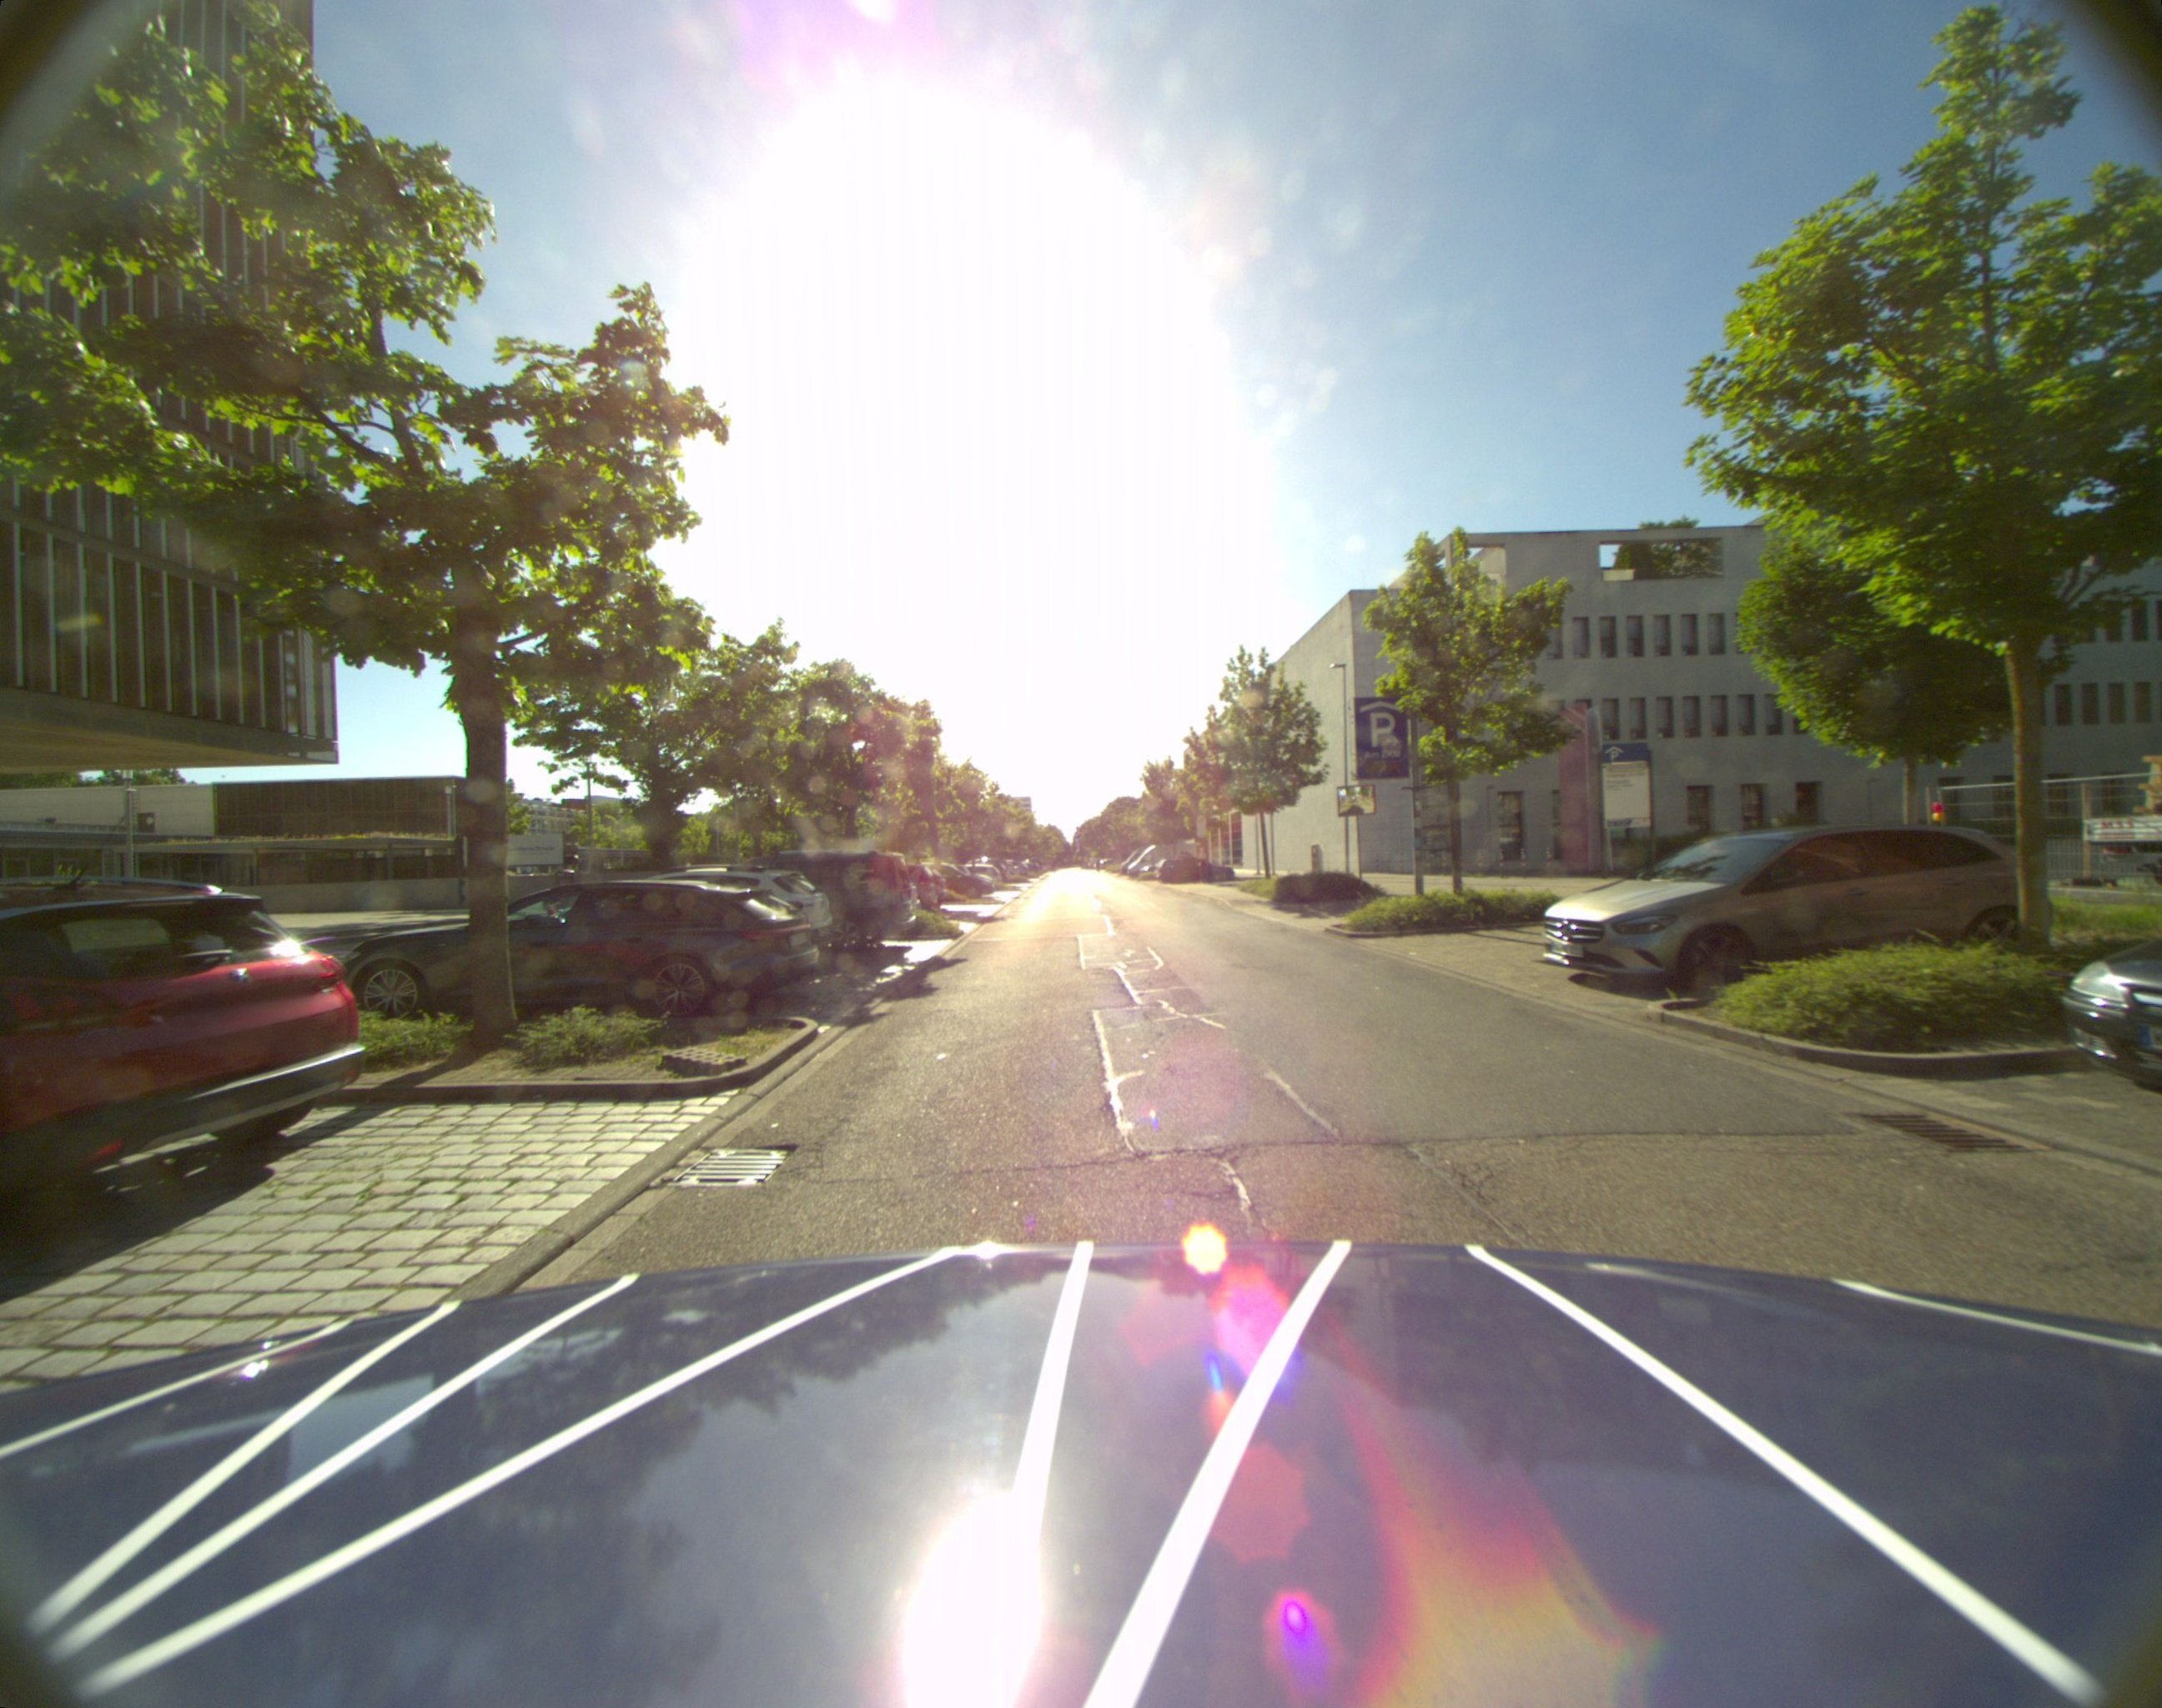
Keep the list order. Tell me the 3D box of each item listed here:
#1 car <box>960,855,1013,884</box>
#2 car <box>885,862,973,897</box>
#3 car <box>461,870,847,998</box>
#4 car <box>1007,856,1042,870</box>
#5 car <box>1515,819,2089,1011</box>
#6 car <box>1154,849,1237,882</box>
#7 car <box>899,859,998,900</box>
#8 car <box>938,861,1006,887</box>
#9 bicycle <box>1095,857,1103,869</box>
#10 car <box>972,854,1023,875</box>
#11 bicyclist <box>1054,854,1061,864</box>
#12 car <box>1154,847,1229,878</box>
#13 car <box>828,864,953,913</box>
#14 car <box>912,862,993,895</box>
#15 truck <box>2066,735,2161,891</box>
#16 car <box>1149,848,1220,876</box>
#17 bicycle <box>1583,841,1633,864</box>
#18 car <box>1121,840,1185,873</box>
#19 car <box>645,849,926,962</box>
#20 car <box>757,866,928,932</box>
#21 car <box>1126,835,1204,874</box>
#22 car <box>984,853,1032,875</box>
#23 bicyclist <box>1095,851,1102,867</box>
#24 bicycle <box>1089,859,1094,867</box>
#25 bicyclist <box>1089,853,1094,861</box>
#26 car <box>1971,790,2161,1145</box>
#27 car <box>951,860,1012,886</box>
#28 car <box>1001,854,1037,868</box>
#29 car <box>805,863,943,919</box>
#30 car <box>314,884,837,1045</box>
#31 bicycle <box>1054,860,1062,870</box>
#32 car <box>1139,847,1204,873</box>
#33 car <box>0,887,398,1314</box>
[{"bbox_3d":[-6.435,1.010,51.887,3.391,1.877,1.696,-1,1,-1],"label":"car"},{"bbox_3d":[-6.965,1.149,35.039,3.717,1.505,1.676,-1,1,-1],"label":"car"},{"bbox_3d":[-5.947,1.071,11.071,4.413,1.548,2.074,-1,1,-1],"label":"car"},{"bbox_3d":[-6.302,0.968,84.686,3.717,1.418,1.676,-1,1,-1],"label":"car"},{"bbox_3d":[7.330,0.576,8.058,4.396,1.505,1.693,-4,1,0],"label":"car"},{"bbox_3d":[6.422,0.612,42.929,4.316,1.505,1.718,-4,1,-1],"label":"car"},{"bbox_3d":[-5.617,1.079,32.536,3.962,1.591,1.675,-1,1,-3],"label":"car"},{"bbox_3d":[-6.349,1.176,44.588,3.762,1.418,1.731,-1,1,-1],"label":"car"},{"bbox_3d":[1.941,0.989,83.806,0.792,1.215,2.262,-1,0,0],"label":"bicycle"},{"bbox_3d":[-6.415,0.817,58.765,3.717,1.516,1.676,-1,1,-1],"label":"car"},{"bbox_3d":[-2.885,0.595,93.816,0.792,1.215,1.063,-1,0,0],"label":"bicyclist"},{"bbox_3d":[6.858,0.543,47.501,4.316,1.574,1.693,-4,1,-1],"label":"car"},{"bbox_3d":[-6.358,1.130,25.631,3.716,1.505,1.735,-1,1,4],"label":"car"},{"bbox_3d":[-6.333,1.181,37.696,3.717,1.505,1.676,-1,1,-1],"label":"car"},{"bbox_3d":[21.786,-0.786,13.372,5.857,2.715,2.269,-1,0,1],"label":"truck"},{"bbox_3d":[6.730,0.526,49.824,4.316,1.505,1.693,-4,1,-1],"label":"car"},{"bbox_3d":[28.188,-0.076,40.659,2.262,1.203,0.717,-1,1,-6],"label":"bicycle"},{"bbox_3d":[6.514,0.210,69.239,5.583,2.622,2.010,-4,1,1],"label":"car"},{"bbox_3d":[-5.352,0.898,14.269,4.413,1.881,2.074,-1,1,-1],"label":"car"},{"bbox_3d":[-5.737,1.065,18.606,3.652,1.414,1.676,-1,1,-2],"label":"car"},{"bbox_3d":[6.279,0.034,57.427,5.583,2.468,2.010,-4,1,1],"label":"car"},{"bbox_3d":[-5.848,0.807,61.390,3.717,1.662,1.676,-1,1,-1],"label":"car"},{"bbox_3d":[1.936,0.543,83.834,0.792,1.696,1.104,-1,1,0],"label":"bicyclist"},{"bbox_3d":[1.638,1.364,121.393,0.792,1.215,2.262,-1,0,0],"label":"bicycle"},{"bbox_3d":[1.617,0.430,121.284,0.792,1.215,0.823,-1,1,0],"label":"bicyclist"},{"bbox_3d":[7.488,0.412,3.552,4.396,1.735,1.847,-4,1,0],"label":"car"},{"bbox_3d":[-6.403,1.189,49.234,3.717,1.557,1.676,-1,1,-1],"label":"car"},{"bbox_3d":[-6.697,0.774,82.136,3.717,1.418,1.676,-1,1,-1],"label":"car"},{"bbox_3d":[-6.258,1.108,23.226,3.716,1.560,1.676,-1,1,2],"label":"car"},{"bbox_3d":[-5.299,1.129,8.521,4.413,1.401,2.074,-1,0,-1],"label":"car"},{"bbox_3d":[-2.858,1.359,93.851,0.792,1.215,2.262,-1,0,0],"label":"bicycle"},{"bbox_3d":[6.417,0.409,54.085,4.316,1.505,1.693,-4,1,-1],"label":"car"},{"bbox_3d":[-6.294,1.008,3.561,4.413,1.527,1.876,-1,1,-1],"label":"car"}]
